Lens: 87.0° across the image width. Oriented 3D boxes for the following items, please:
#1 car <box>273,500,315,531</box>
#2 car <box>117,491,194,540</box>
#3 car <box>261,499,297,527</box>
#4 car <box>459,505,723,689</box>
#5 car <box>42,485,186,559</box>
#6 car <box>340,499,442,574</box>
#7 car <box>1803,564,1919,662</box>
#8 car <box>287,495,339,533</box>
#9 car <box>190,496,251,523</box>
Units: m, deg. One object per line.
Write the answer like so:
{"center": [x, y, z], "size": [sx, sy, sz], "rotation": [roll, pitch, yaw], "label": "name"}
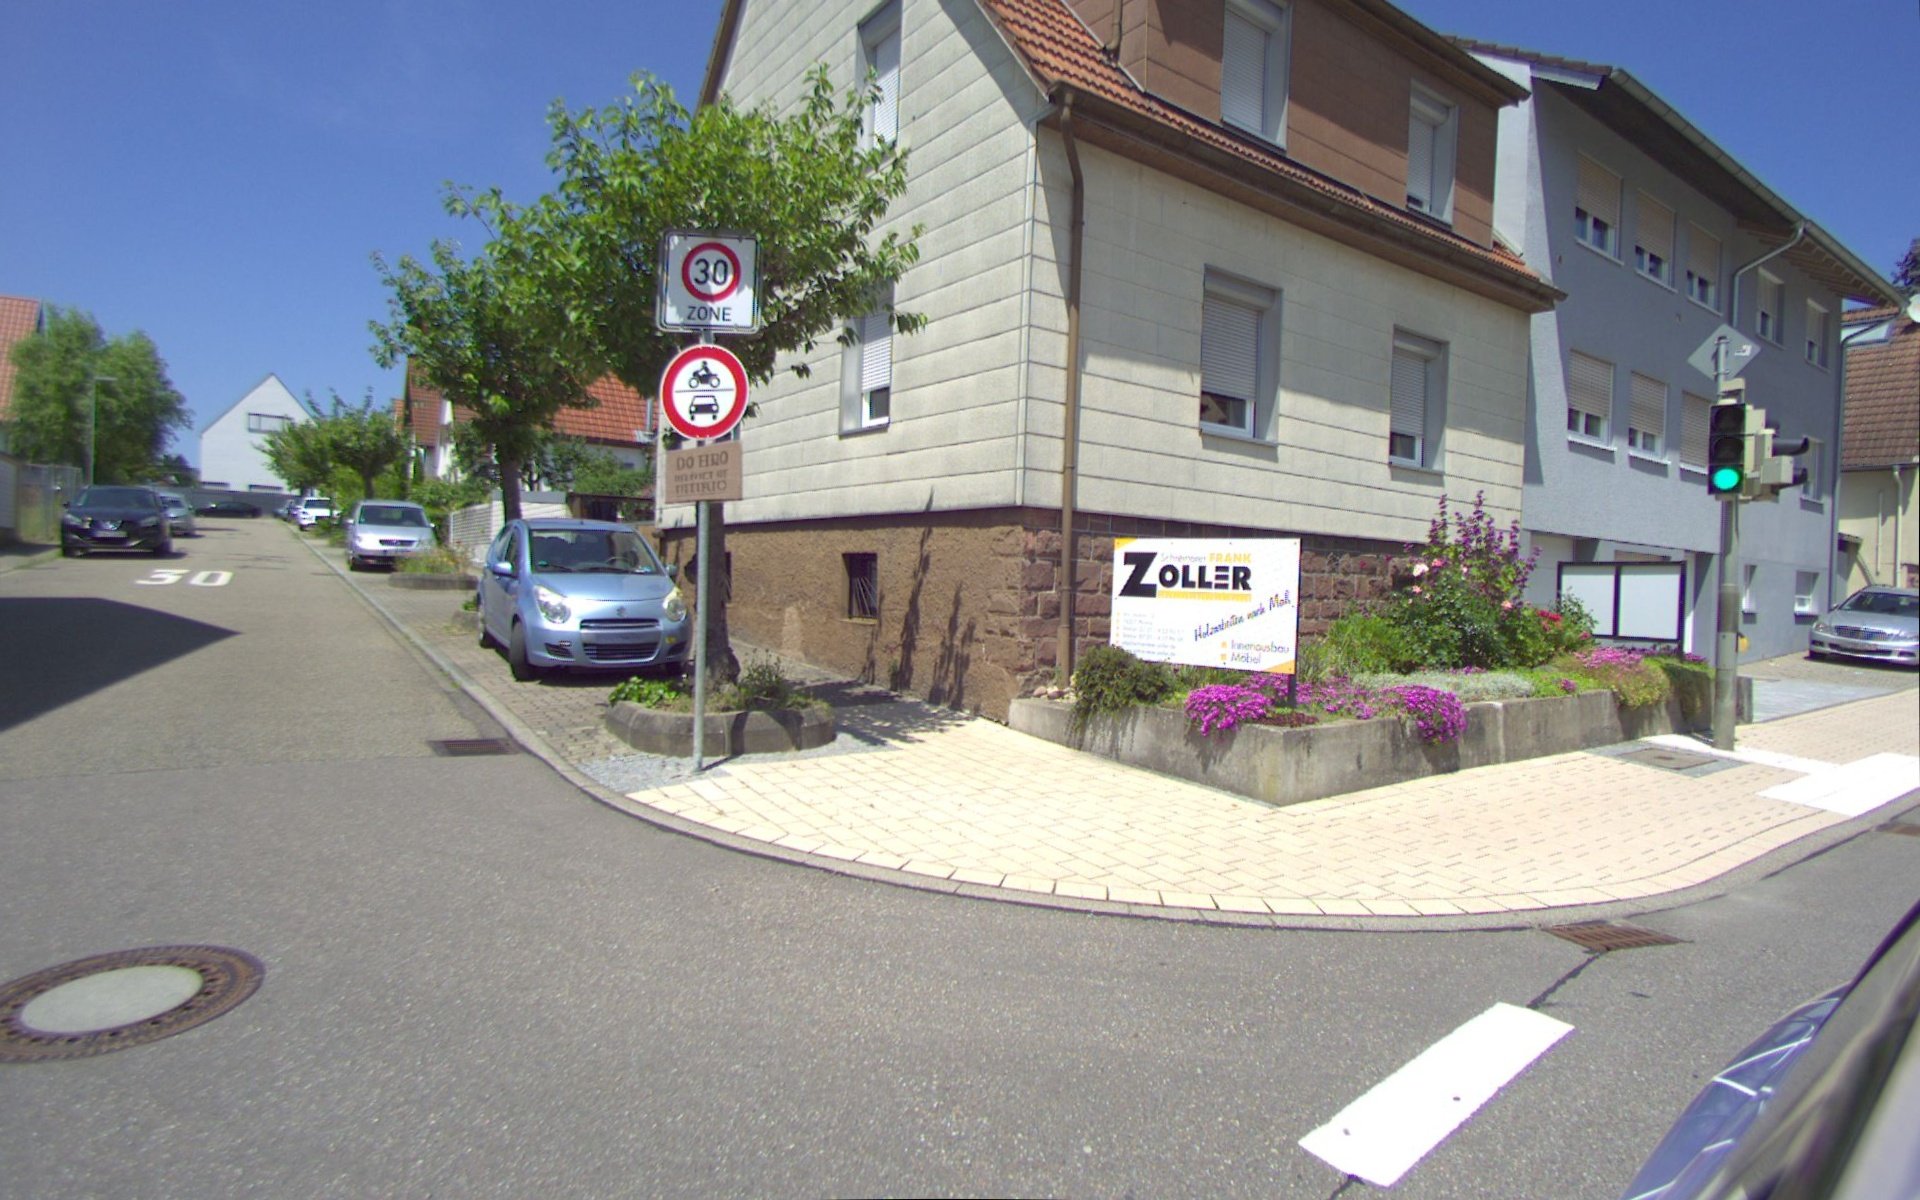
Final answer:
{"center": [-39.911, -5.049, 60.592], "size": [1.869, 1.737, 4.291], "rotation": [-1, 5, -36], "label": "car"}
{"center": [-27.317, -2.879, 34.476], "size": [1.869, 1.502, 4.291], "rotation": [-1, 5, -36], "label": "car"}
{"center": [-45.692, -5.832, 67.865], "size": [1.869, 1.737, 4.291], "rotation": [-1, 5, -36], "label": "car"}
{"center": [-3.944, -0.171, 10.444], "size": [1.765, 1.510, 3.530], "rotation": [-1, 5, -34], "label": "car"}
{"center": [-19.190, -1.775, 23.153], "size": [1.867, 1.502, 4.297], "rotation": [0, 4, -31], "label": "car"}
{"center": [-13.619, -1.543, 24.098], "size": [1.867, 1.599, 4.405], "rotation": [-1, 4, -33], "label": "car"}
{"center": [18.494, 0.186, 19.812], "size": [4.422, 1.640, 1.870], "rotation": [-1, 5, -35], "label": "car"}
{"center": [-31.804, -4.234, 49.714], "size": [1.869, 1.737, 4.291], "rotation": [-1, 5, -36], "label": "car"}
{"center": [-54.921, -6.714, 75.227], "size": [3.566, 1.695, 1.506], "rotation": [-1, 0, -41], "label": "car"}
